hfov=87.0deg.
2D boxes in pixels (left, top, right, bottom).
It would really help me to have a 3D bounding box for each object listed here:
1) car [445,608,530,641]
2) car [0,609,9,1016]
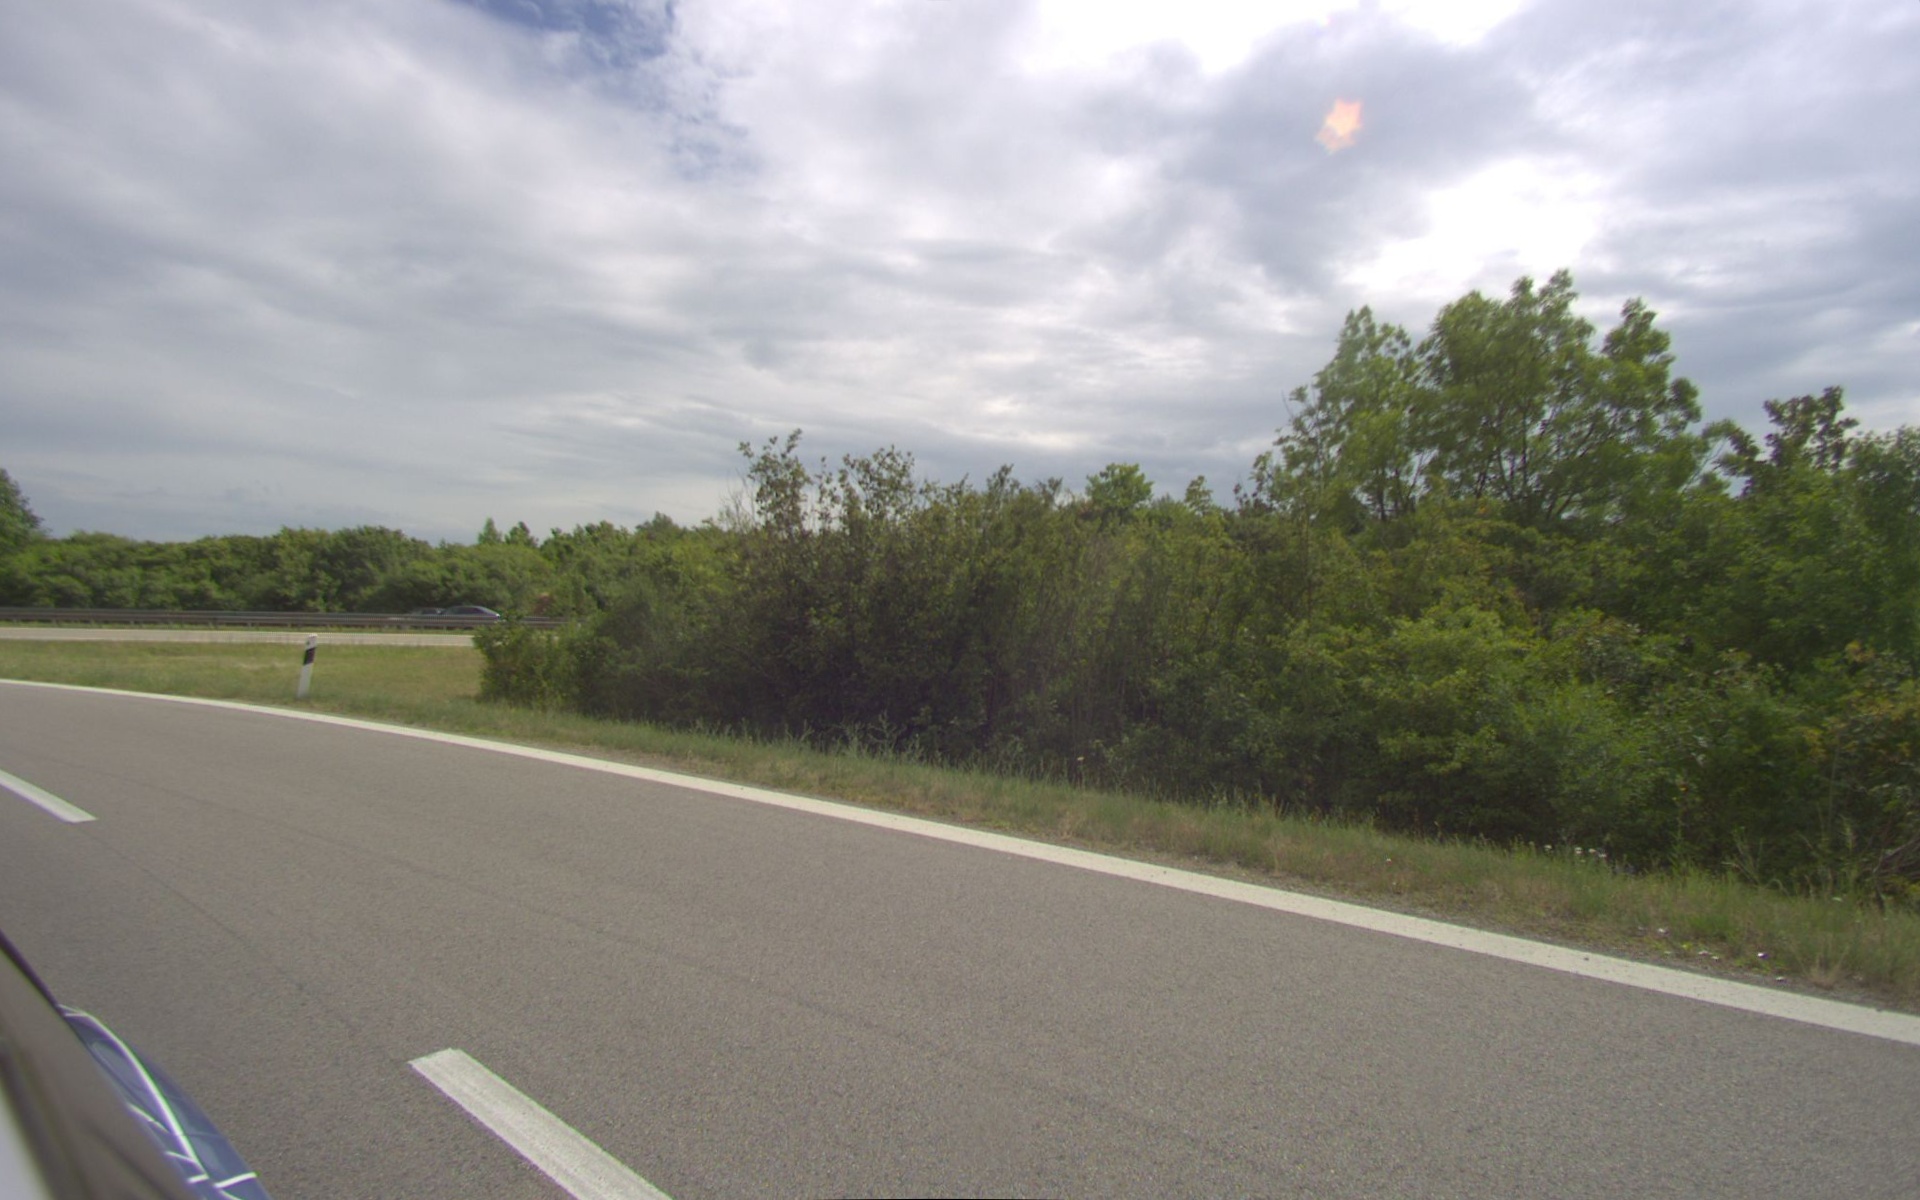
[{"bbox_3d":[-27.486,1.441,58.972,4.023,1.739,2.002,2,-2,-5],"label":"car"},{"bbox_3d":[-5.946,0.808,4.484,4.534,1.526,1.974,0,0,39],"label":"car"}]
